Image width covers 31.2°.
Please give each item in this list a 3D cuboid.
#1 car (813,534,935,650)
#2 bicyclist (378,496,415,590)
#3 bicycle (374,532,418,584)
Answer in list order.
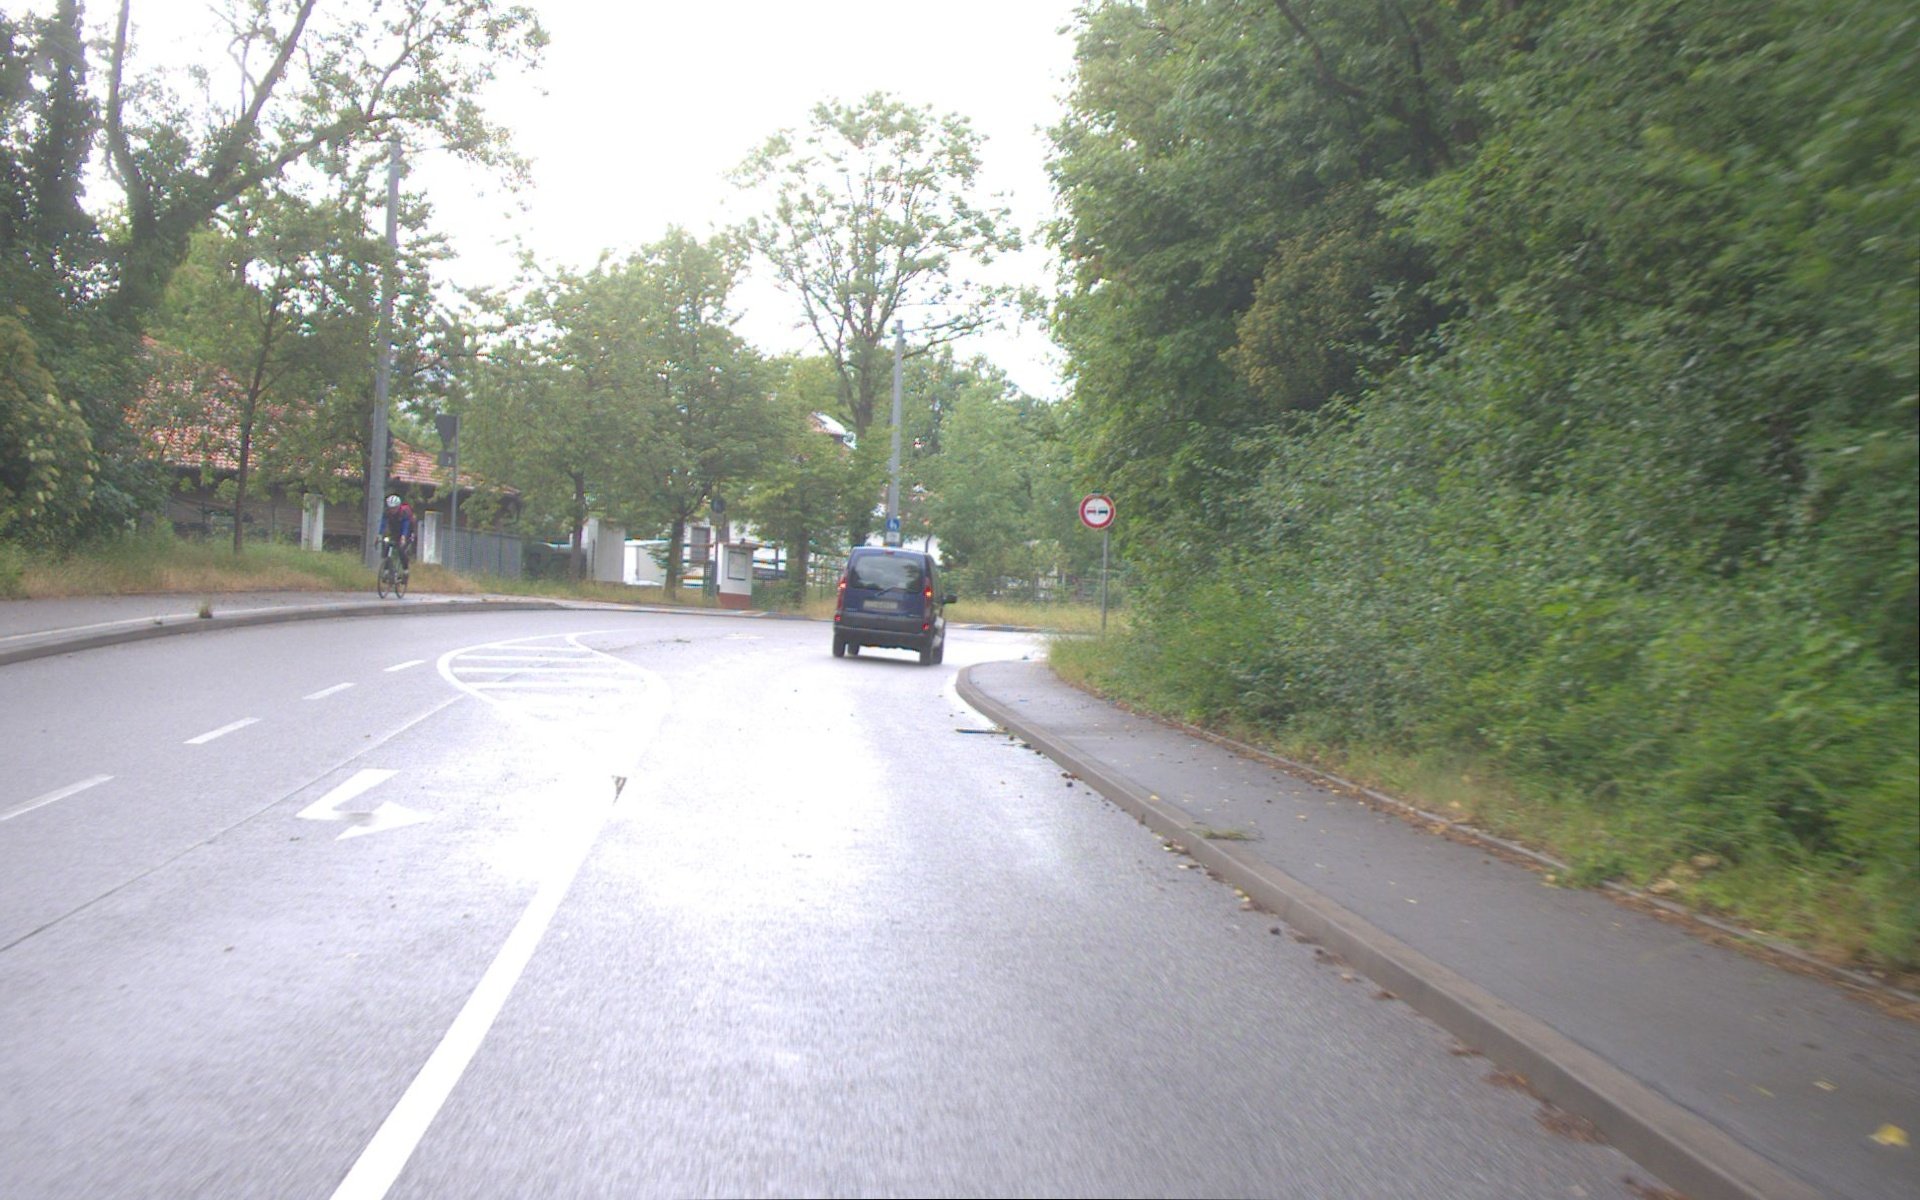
[{"bbox_3d":[-1.454,-0.097,56.600,1.827,1.788,4.000,0,-2,-4],"label":"car"},{"bbox_3d":[-9.631,-0.968,58.751,0.336,1.569,1.298,3,0,0],"label":"bicyclist"},{"bbox_3d":[-9.640,-0.729,58.762,0.355,0.846,2.093,3,1,0],"label":"bicycle"}]
